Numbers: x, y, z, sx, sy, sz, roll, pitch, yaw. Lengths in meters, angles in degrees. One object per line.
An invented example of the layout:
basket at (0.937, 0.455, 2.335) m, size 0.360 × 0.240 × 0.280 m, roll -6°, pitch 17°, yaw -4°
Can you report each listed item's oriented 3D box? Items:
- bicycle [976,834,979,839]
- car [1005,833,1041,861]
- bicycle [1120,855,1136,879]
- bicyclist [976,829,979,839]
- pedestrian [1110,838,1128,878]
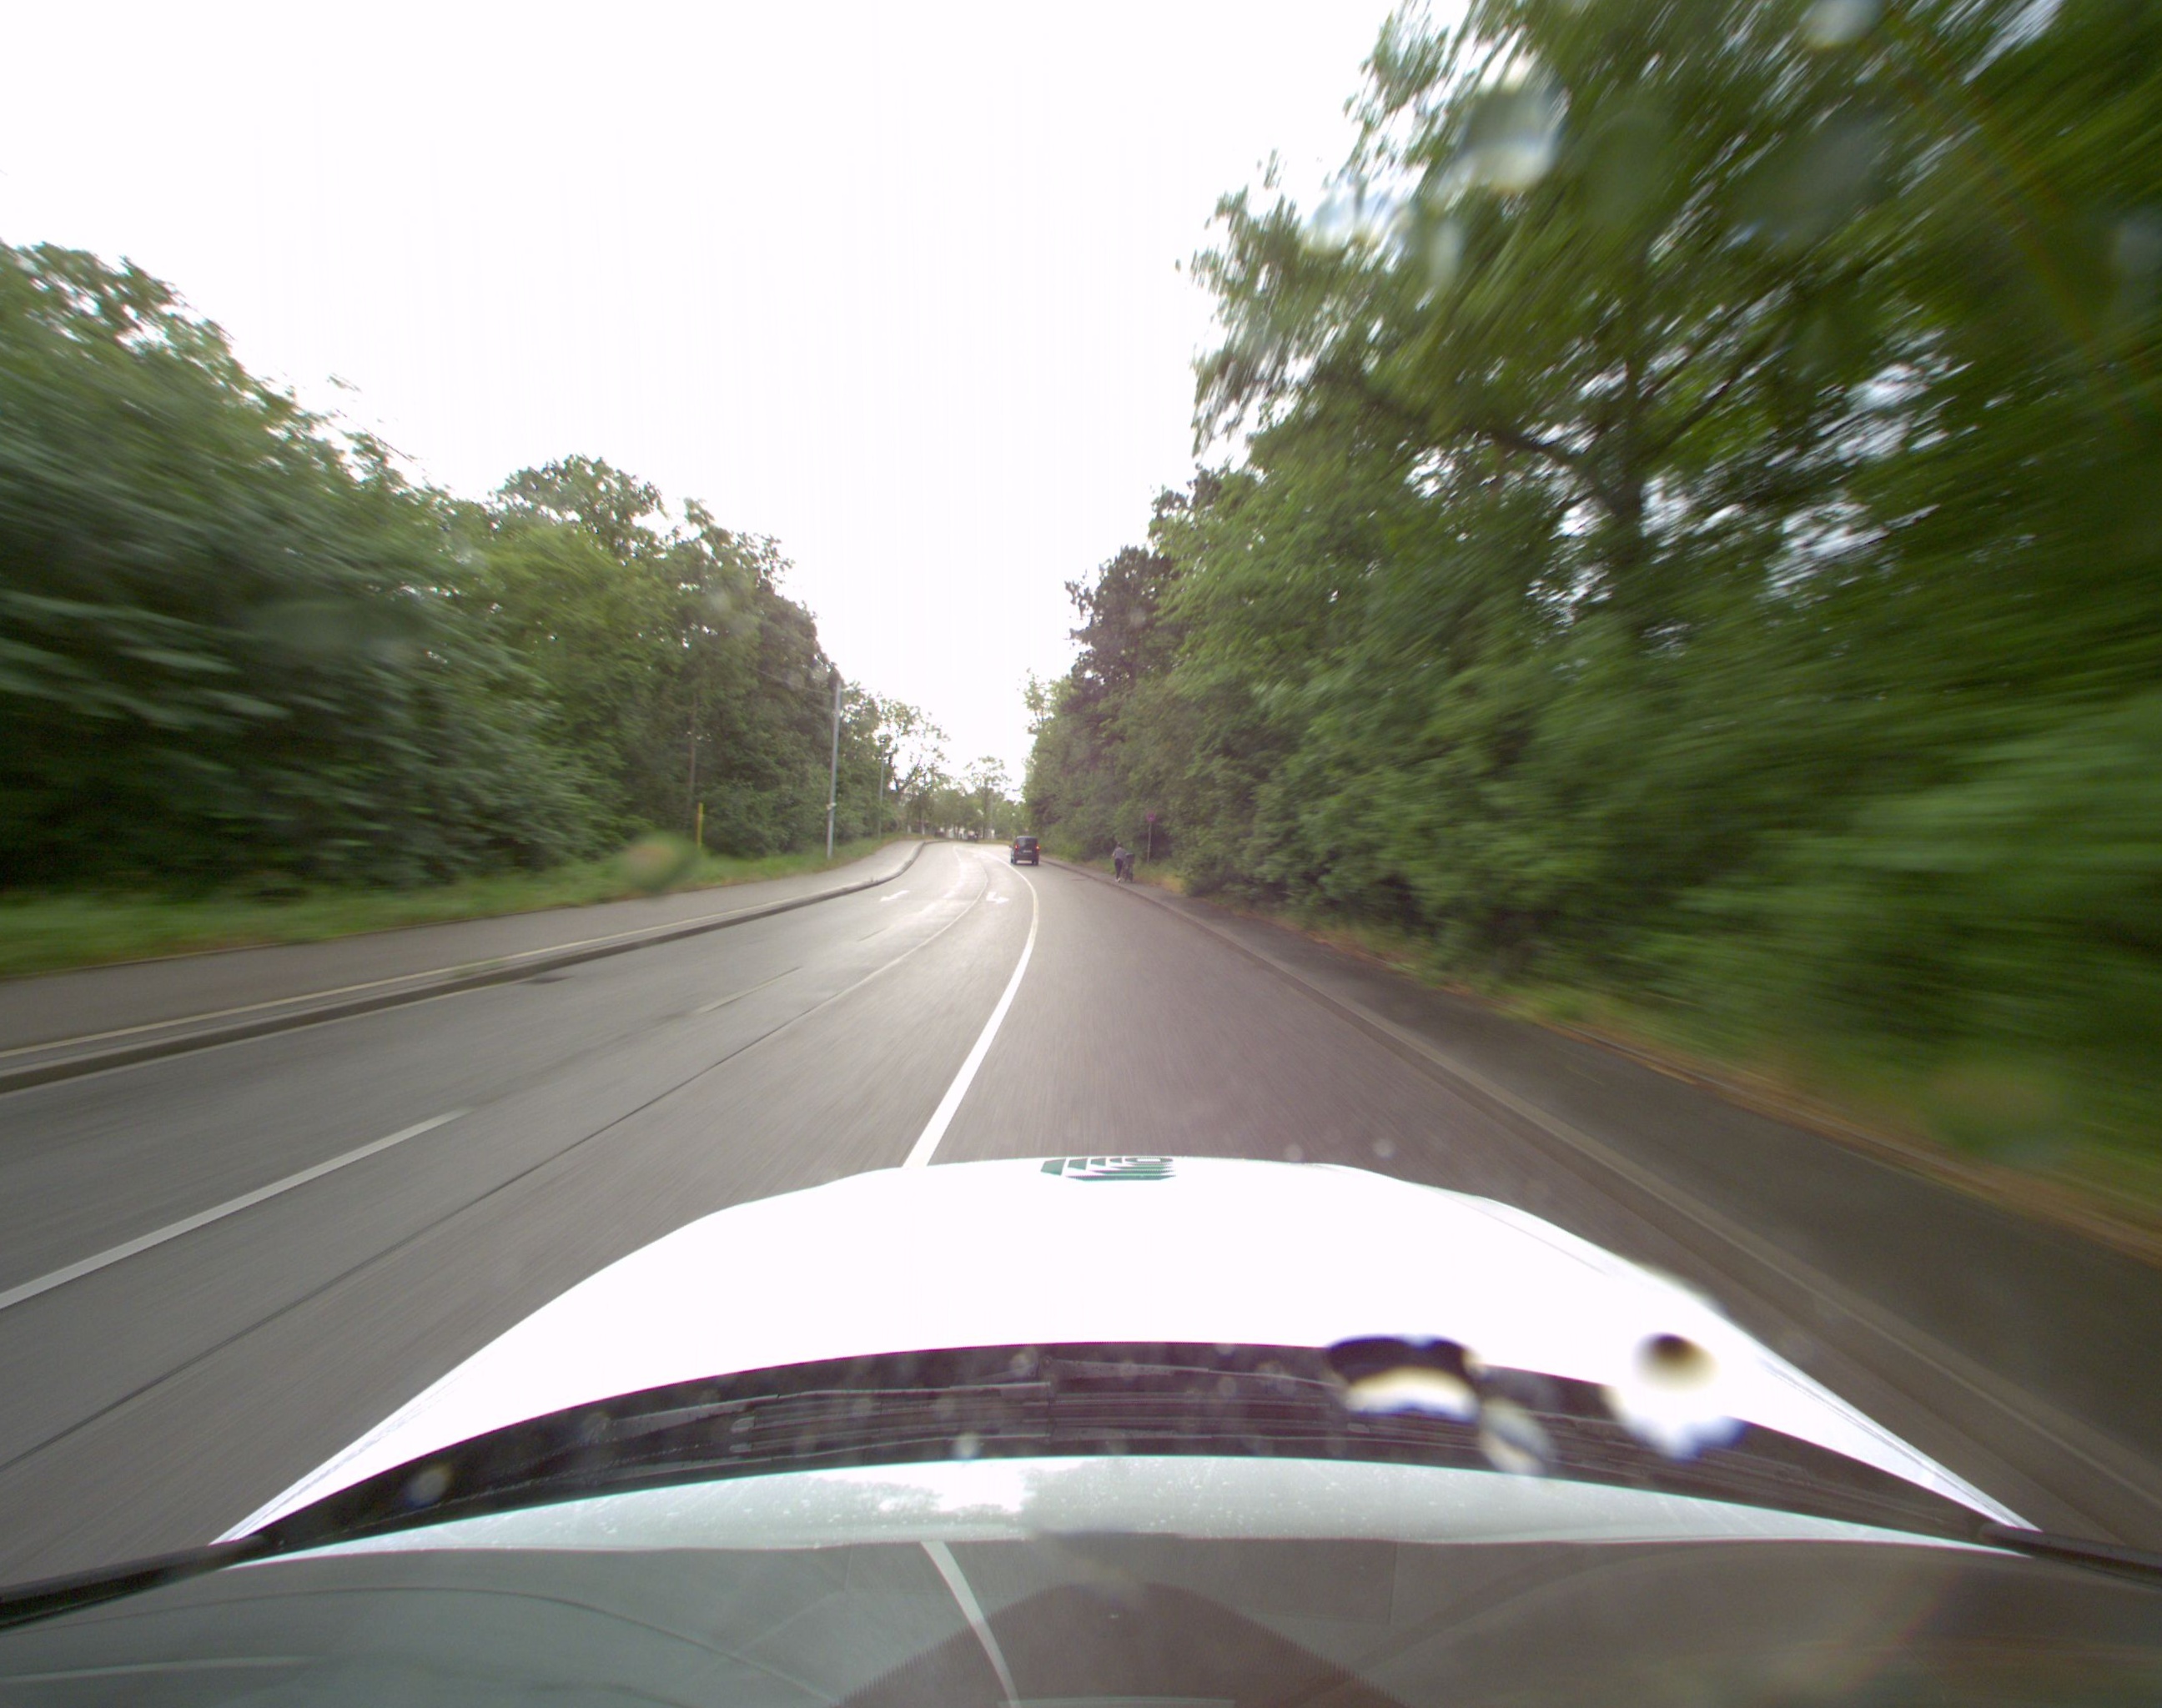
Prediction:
bicycle at (-16.562, -2.787, 130.386) m, size 0.355 × 0.849 × 2.089 m, roll 1°, pitch 2°, yaw -6°
car at (-3.861, -0.412, 53.671) m, size 1.829 × 1.794 × 3.983 m, roll 0°, pitch -1°, yaw -12°
bicycle at (1.898, 0.524, 32.933) m, size 0.355 × 0.849 × 1.739 m, roll -2°, pitch 3°, yaw -6°
bicyclist at (-16.563, -3.141, 130.397) m, size 0.335 × 1.574 × 1.295 m, roll 2°, pitch 1°, yaw -6°
pedestrian at (1.521, 0.155, 32.785) m, size 0.563 × 1.577 × 0.768 m, roll 1°, pitch -2°, yaw -6°
